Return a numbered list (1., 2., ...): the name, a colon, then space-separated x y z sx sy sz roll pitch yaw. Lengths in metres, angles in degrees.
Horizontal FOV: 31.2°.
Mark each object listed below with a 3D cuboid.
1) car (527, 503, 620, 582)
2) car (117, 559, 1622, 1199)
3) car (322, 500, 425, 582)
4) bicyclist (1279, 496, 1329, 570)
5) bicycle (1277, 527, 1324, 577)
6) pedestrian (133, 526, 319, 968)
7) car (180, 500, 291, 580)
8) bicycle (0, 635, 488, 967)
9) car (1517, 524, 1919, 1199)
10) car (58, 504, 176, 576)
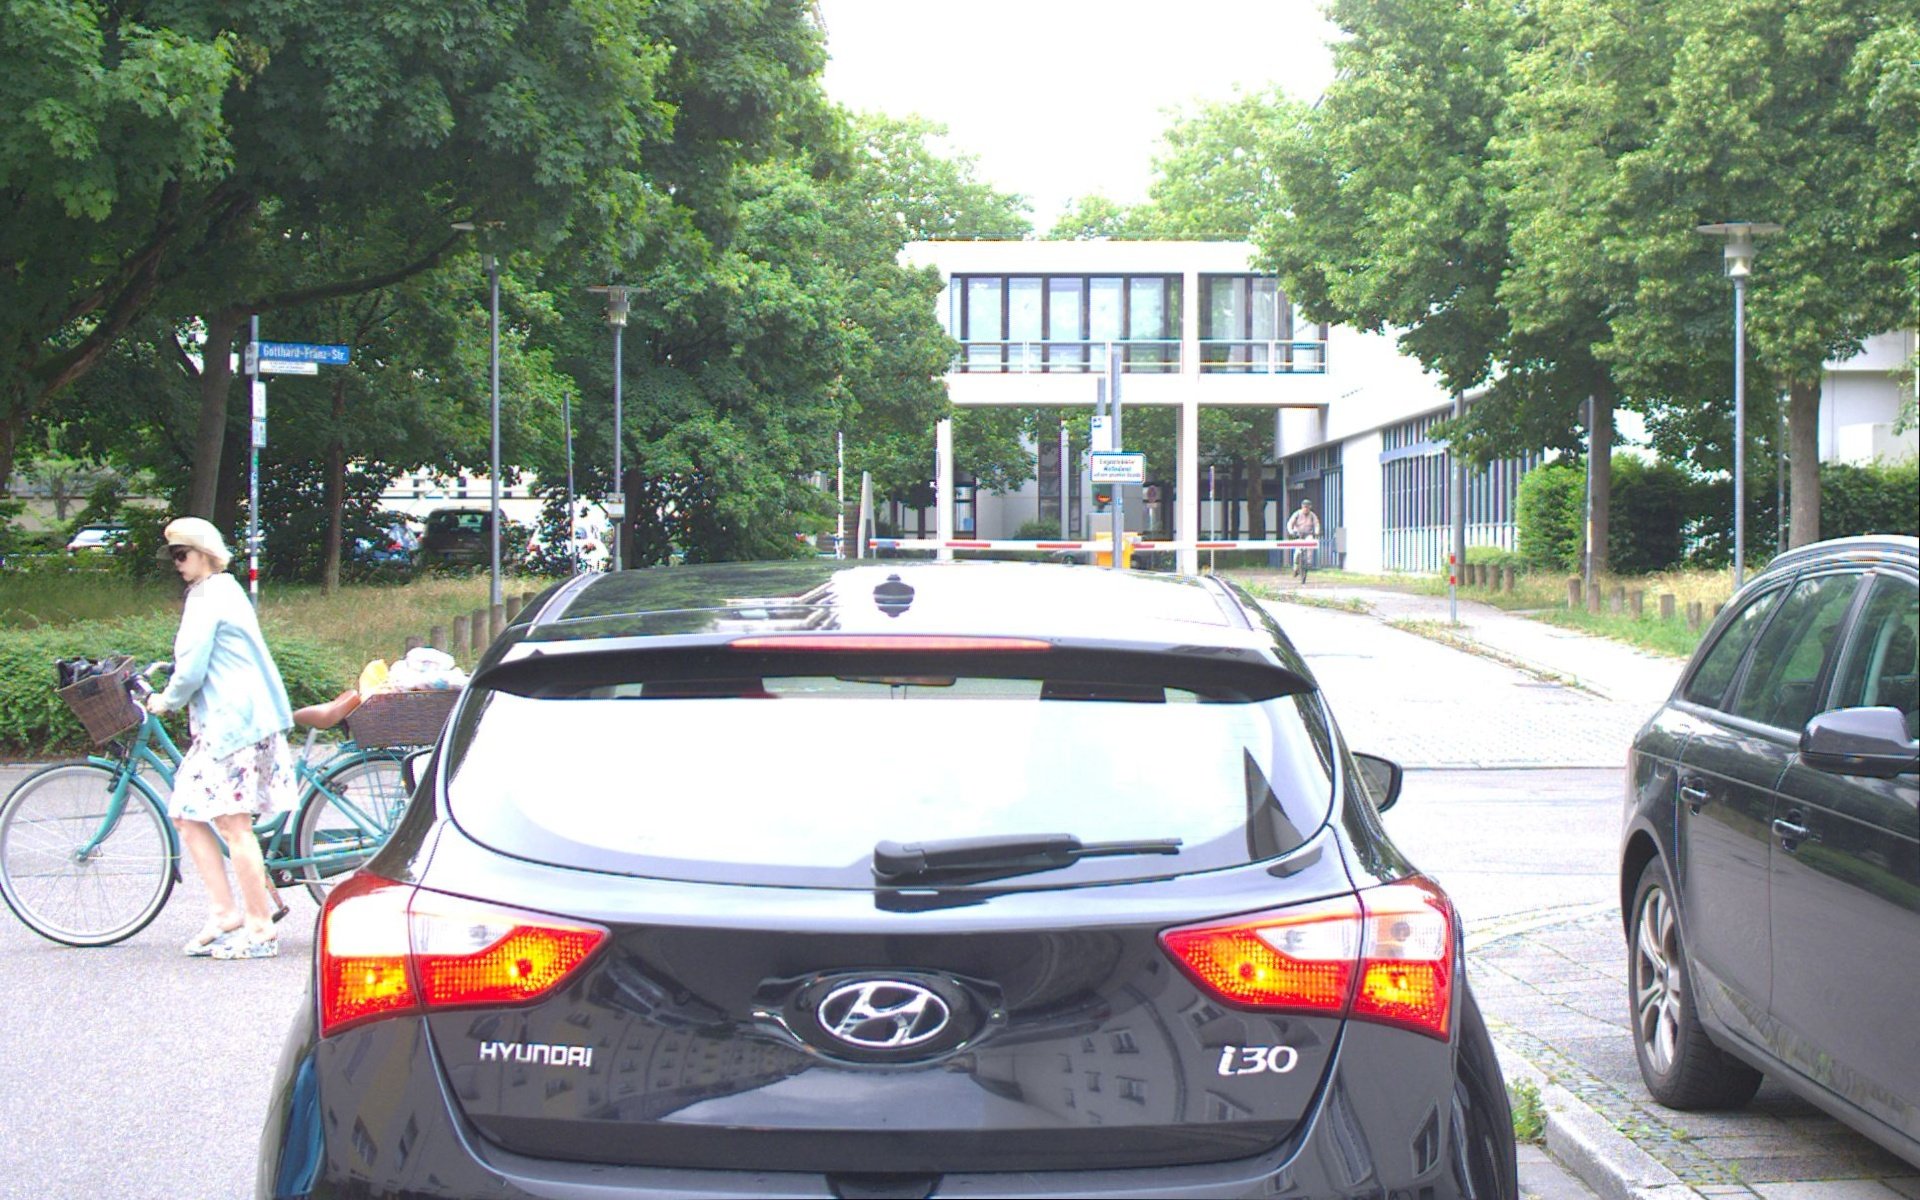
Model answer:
1. car: -8.860 -1.300 79.111 1.993 1.756 4.001 0 0 -4
2. car: -0.198 0.665 6.144 1.846 1.457 3.828 0 1 -3
3. car: -13.455 -1.336 79.050 1.993 1.788 4.000 0 0 -4
4. bicyclist: 7.640 -1.488 76.411 1.017 1.639 0.923 0 2 1
5. bicycle: 7.562 -1.072 76.441 0.866 1.071 2.142 0 2 1
6. pedestrian: -2.639 0.515 12.401 0.565 1.544 0.448 -2 2 -7
7. car: -16.559 -1.356 78.721 1.993 1.722 4.000 0 0 -4
8. bicycle: -2.695 0.732 12.798 1.812 1.115 0.538 -2 2 -9
9. car: 2.601 0.570 7.304 1.860 1.457 4.726 -1 1 -3
10. car: -19.281 -1.376 78.790 1.993 1.612 4.001 0 1 -4
